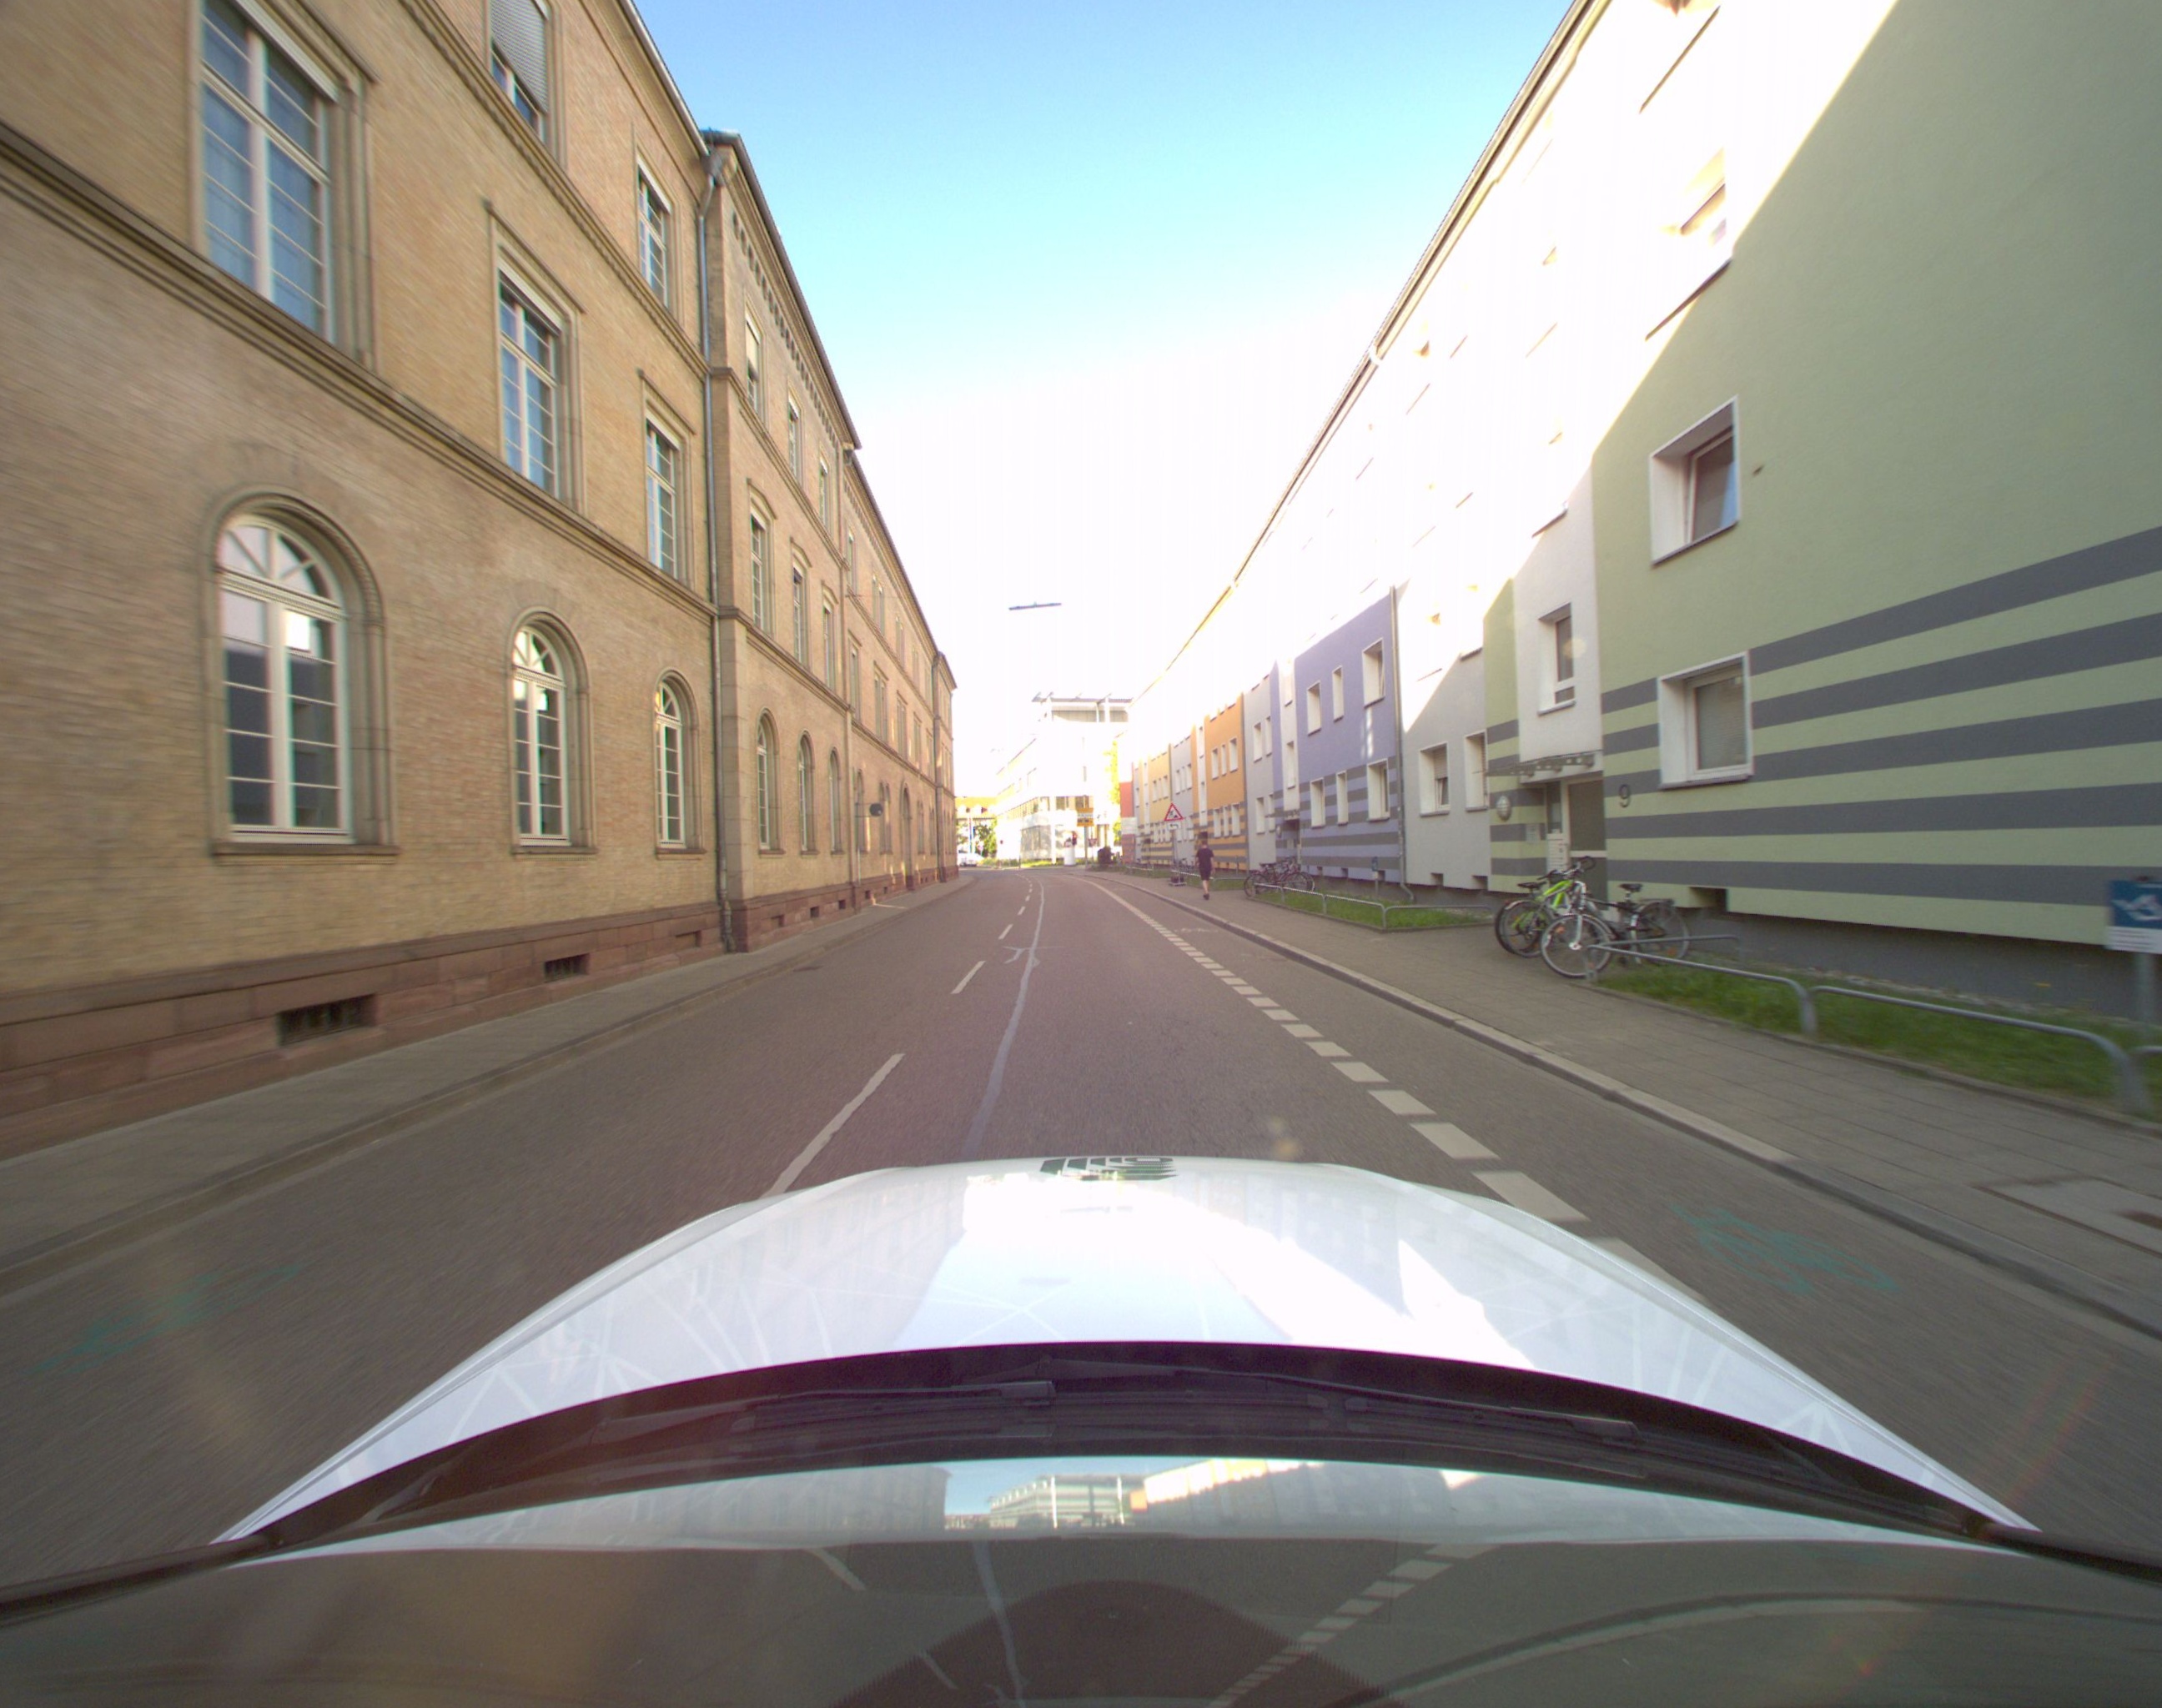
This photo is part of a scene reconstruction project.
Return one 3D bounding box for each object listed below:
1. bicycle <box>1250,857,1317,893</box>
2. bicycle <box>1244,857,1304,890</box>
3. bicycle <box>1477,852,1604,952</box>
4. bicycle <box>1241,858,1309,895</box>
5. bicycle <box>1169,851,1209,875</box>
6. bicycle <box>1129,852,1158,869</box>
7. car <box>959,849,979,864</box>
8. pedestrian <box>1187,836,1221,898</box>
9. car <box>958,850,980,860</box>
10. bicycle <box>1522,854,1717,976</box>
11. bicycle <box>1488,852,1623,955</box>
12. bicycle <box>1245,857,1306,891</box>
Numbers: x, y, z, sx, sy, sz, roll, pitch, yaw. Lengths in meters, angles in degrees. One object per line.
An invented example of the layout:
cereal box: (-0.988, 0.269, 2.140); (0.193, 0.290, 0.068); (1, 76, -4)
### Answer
bicycle: (5.844, 0.601, 23.519); (1.744, 0.946, 0.551); (-3, 0, -3)
bicycle: (5.948, 0.599, 25.116); (1.744, 0.946, 0.335); (-3, 0, -3)
bicycle: (6.013, 0.607, 10.644); (1.603, 1.141, 0.236); (-5, 1, -11)
bicycle: (5.436, 0.627, 22.874); (1.744, 0.946, 0.551); (-3, 0, -3)
bicycle: (5.253, 0.437, 39.635); (1.807, 1.137, 0.551); (-2, 0, -4)
bicycle: (4.112, 0.414, 53.730); (1.752, 1.004, 0.612); (-3, 0, -7)
car: (-16.728, 0.381, 121.526); (2.428, 2.112, 5.206); (0, -1, -14)
pedestrian: (3.648, 0.368, 24.284); (0.695, 1.760, 1.188); (-4, 0, -2)
car: (-21.858, 0.173, 158.735); (4.006, 1.915, 1.904); (0, -1, -25)
bicycle: (5.892, 0.652, 8.958); (1.744, 1.141, 0.551); (-5, 1, -3)
bicycle: (6.041, 0.607, 10.369); (1.641, 1.141, 0.282); (-5, 1, -11)
bicycle: (5.895, 0.605, 24.666); (1.743, 0.946, 0.325); (-3, 0, -2)
